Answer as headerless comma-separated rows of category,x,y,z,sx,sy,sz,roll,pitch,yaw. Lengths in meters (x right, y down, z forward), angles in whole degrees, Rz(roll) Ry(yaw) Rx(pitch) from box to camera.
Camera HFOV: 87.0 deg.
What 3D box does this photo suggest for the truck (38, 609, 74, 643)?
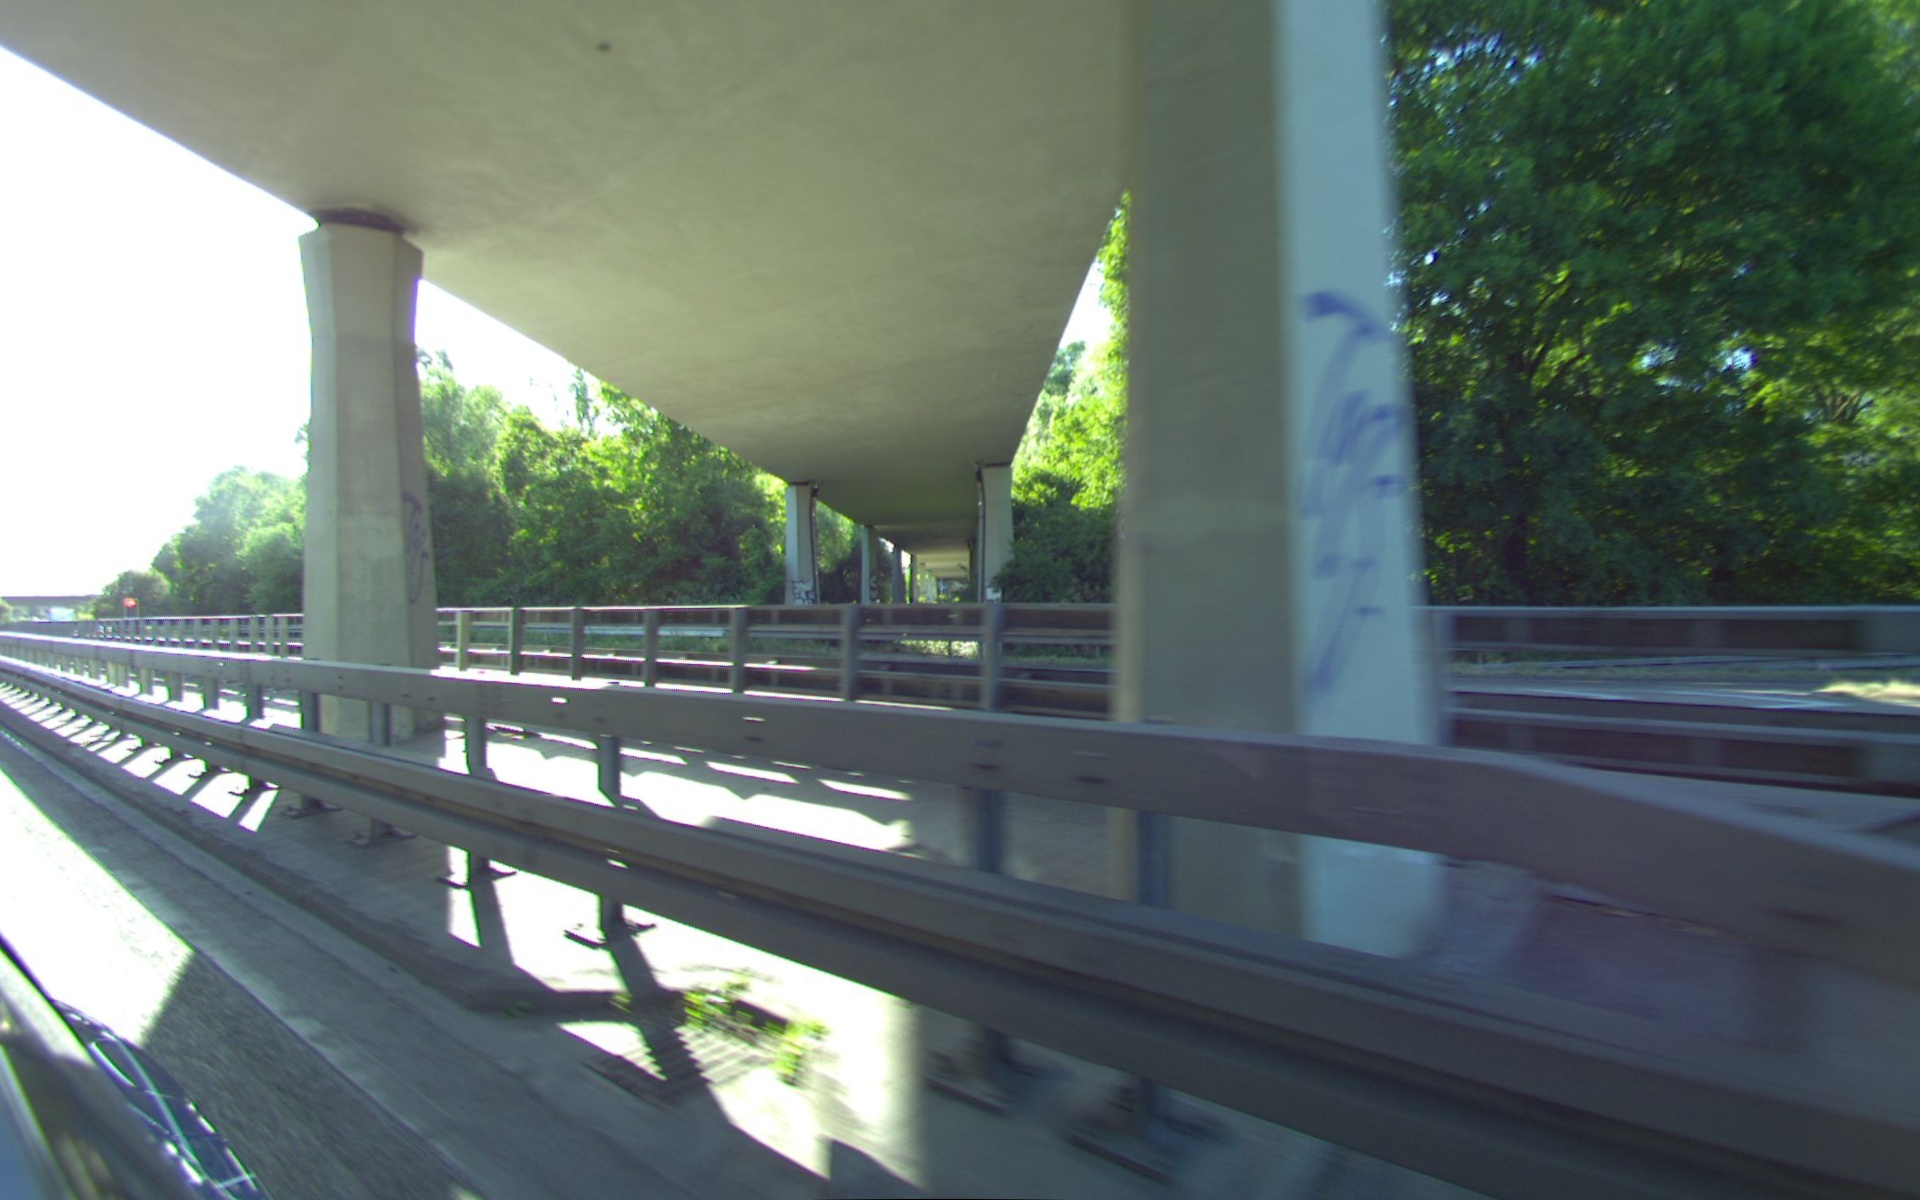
truck,-96.211,2.665,107.616,2.391,3.423,9.622,-1,0,-44
